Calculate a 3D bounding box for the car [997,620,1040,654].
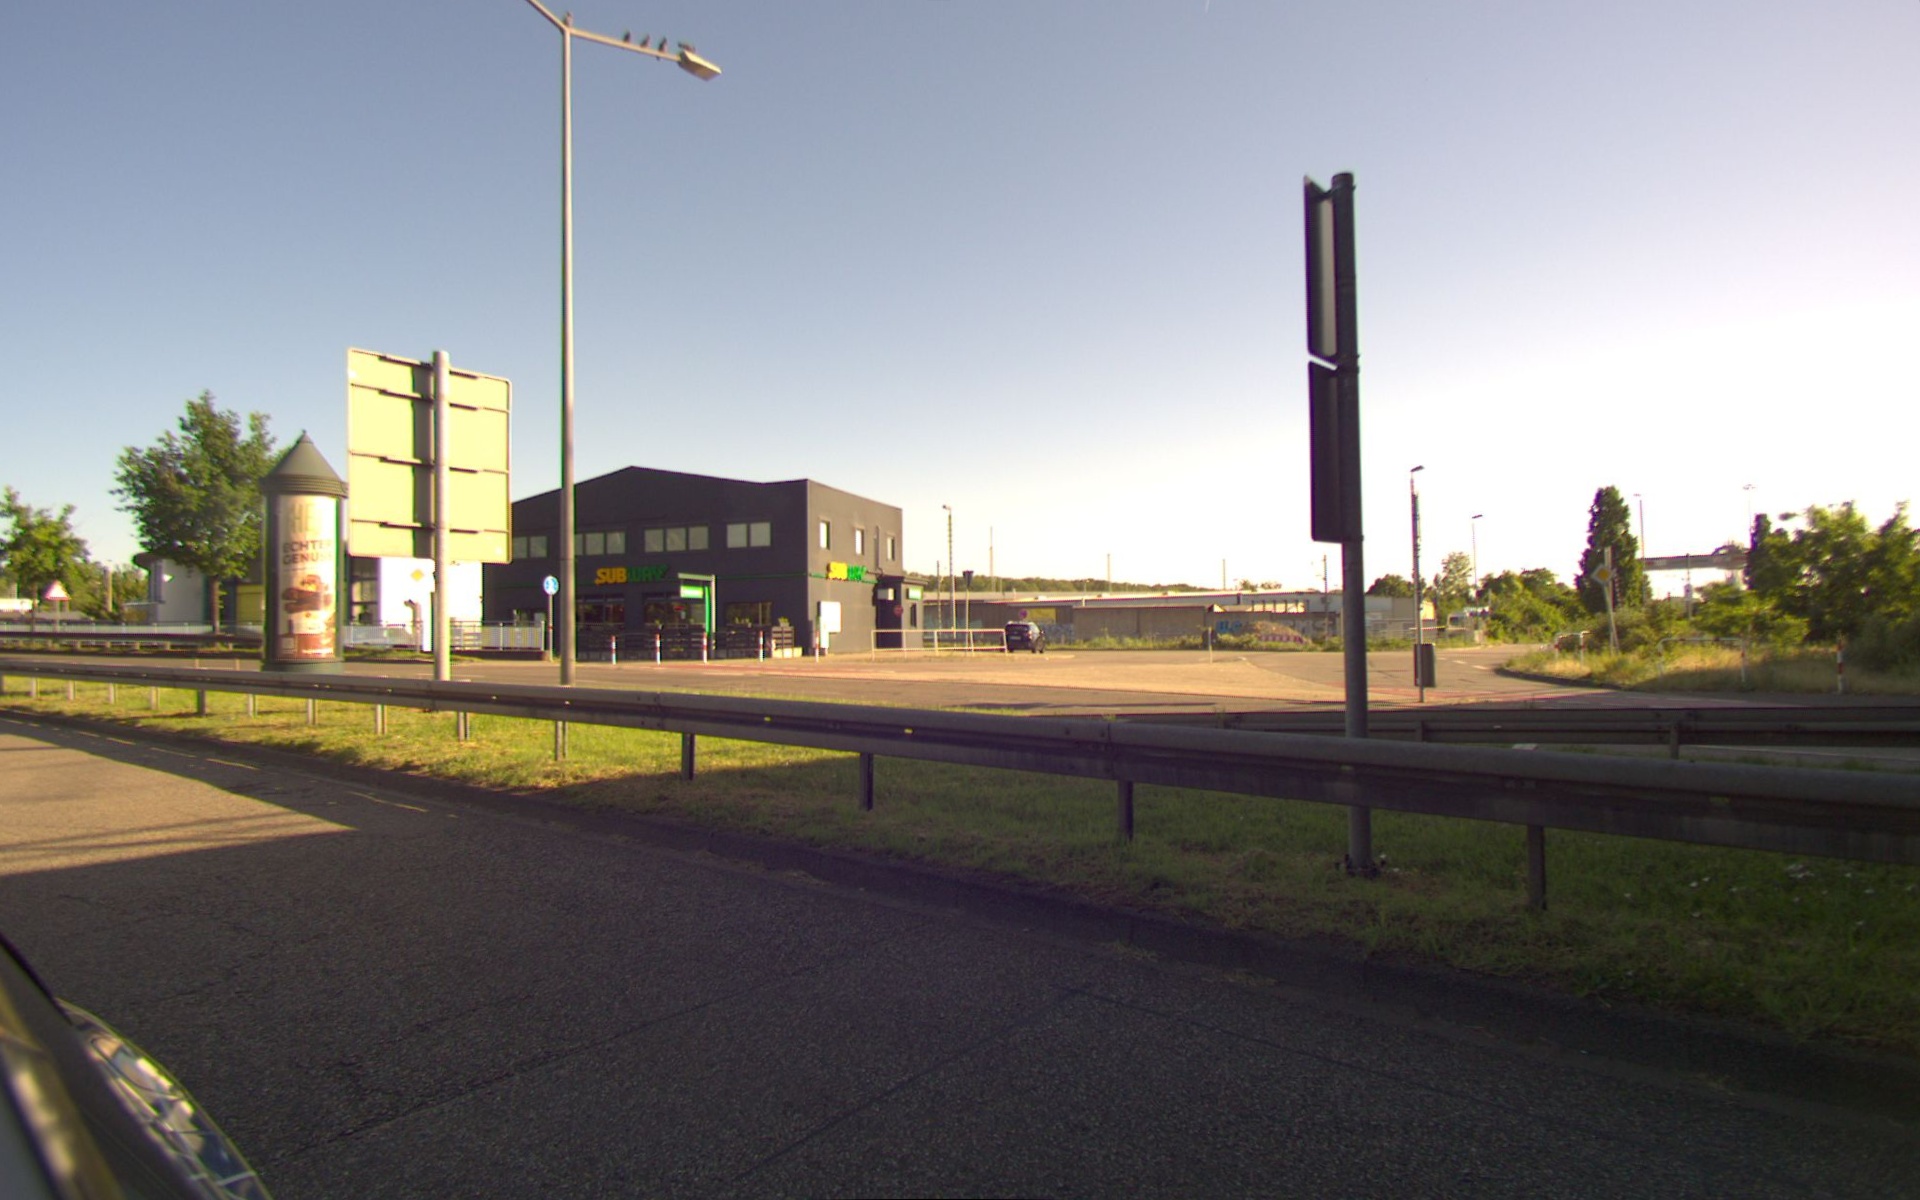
[{"bbox_3d":[2.875,1.756,48.904,1.860,1.453,3.992,-1,0,6],"label":"car"}]
